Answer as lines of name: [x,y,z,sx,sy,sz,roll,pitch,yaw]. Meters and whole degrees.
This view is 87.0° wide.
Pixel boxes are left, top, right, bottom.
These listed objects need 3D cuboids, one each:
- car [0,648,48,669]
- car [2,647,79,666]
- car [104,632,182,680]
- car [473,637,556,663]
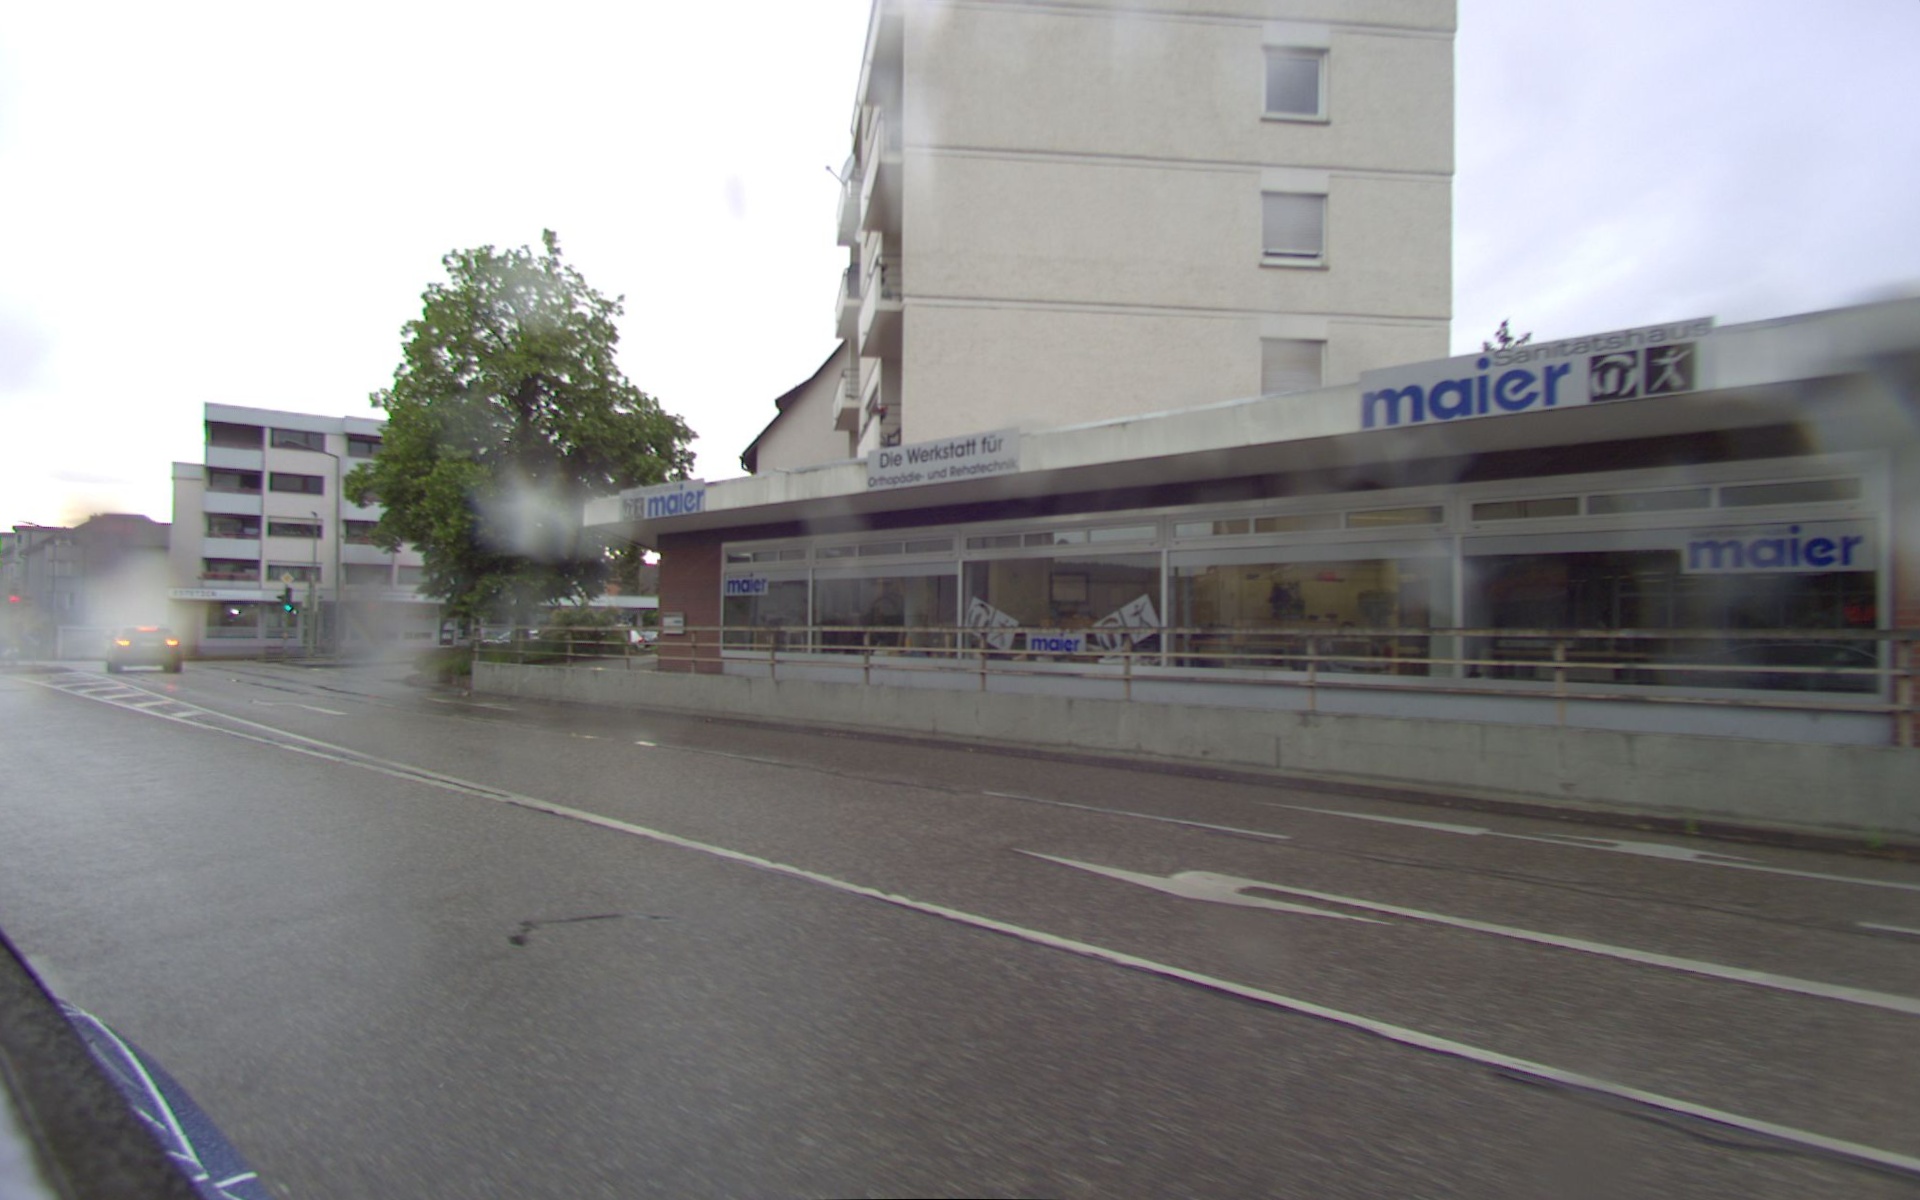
car: [-80.615,4.955,85.102,5.385,1.697,2.155,0,-3,-24]
car: [-75.947,4.653,83.641,1.930,1.508,4.559,-3,-4,44]
car: [-28.869,1.949,35.712,1.781,1.569,4.321,1,-3,-44]
car: [-25.790,2.890,58.757,4.215,1.445,1.840,0,-2,-16]
